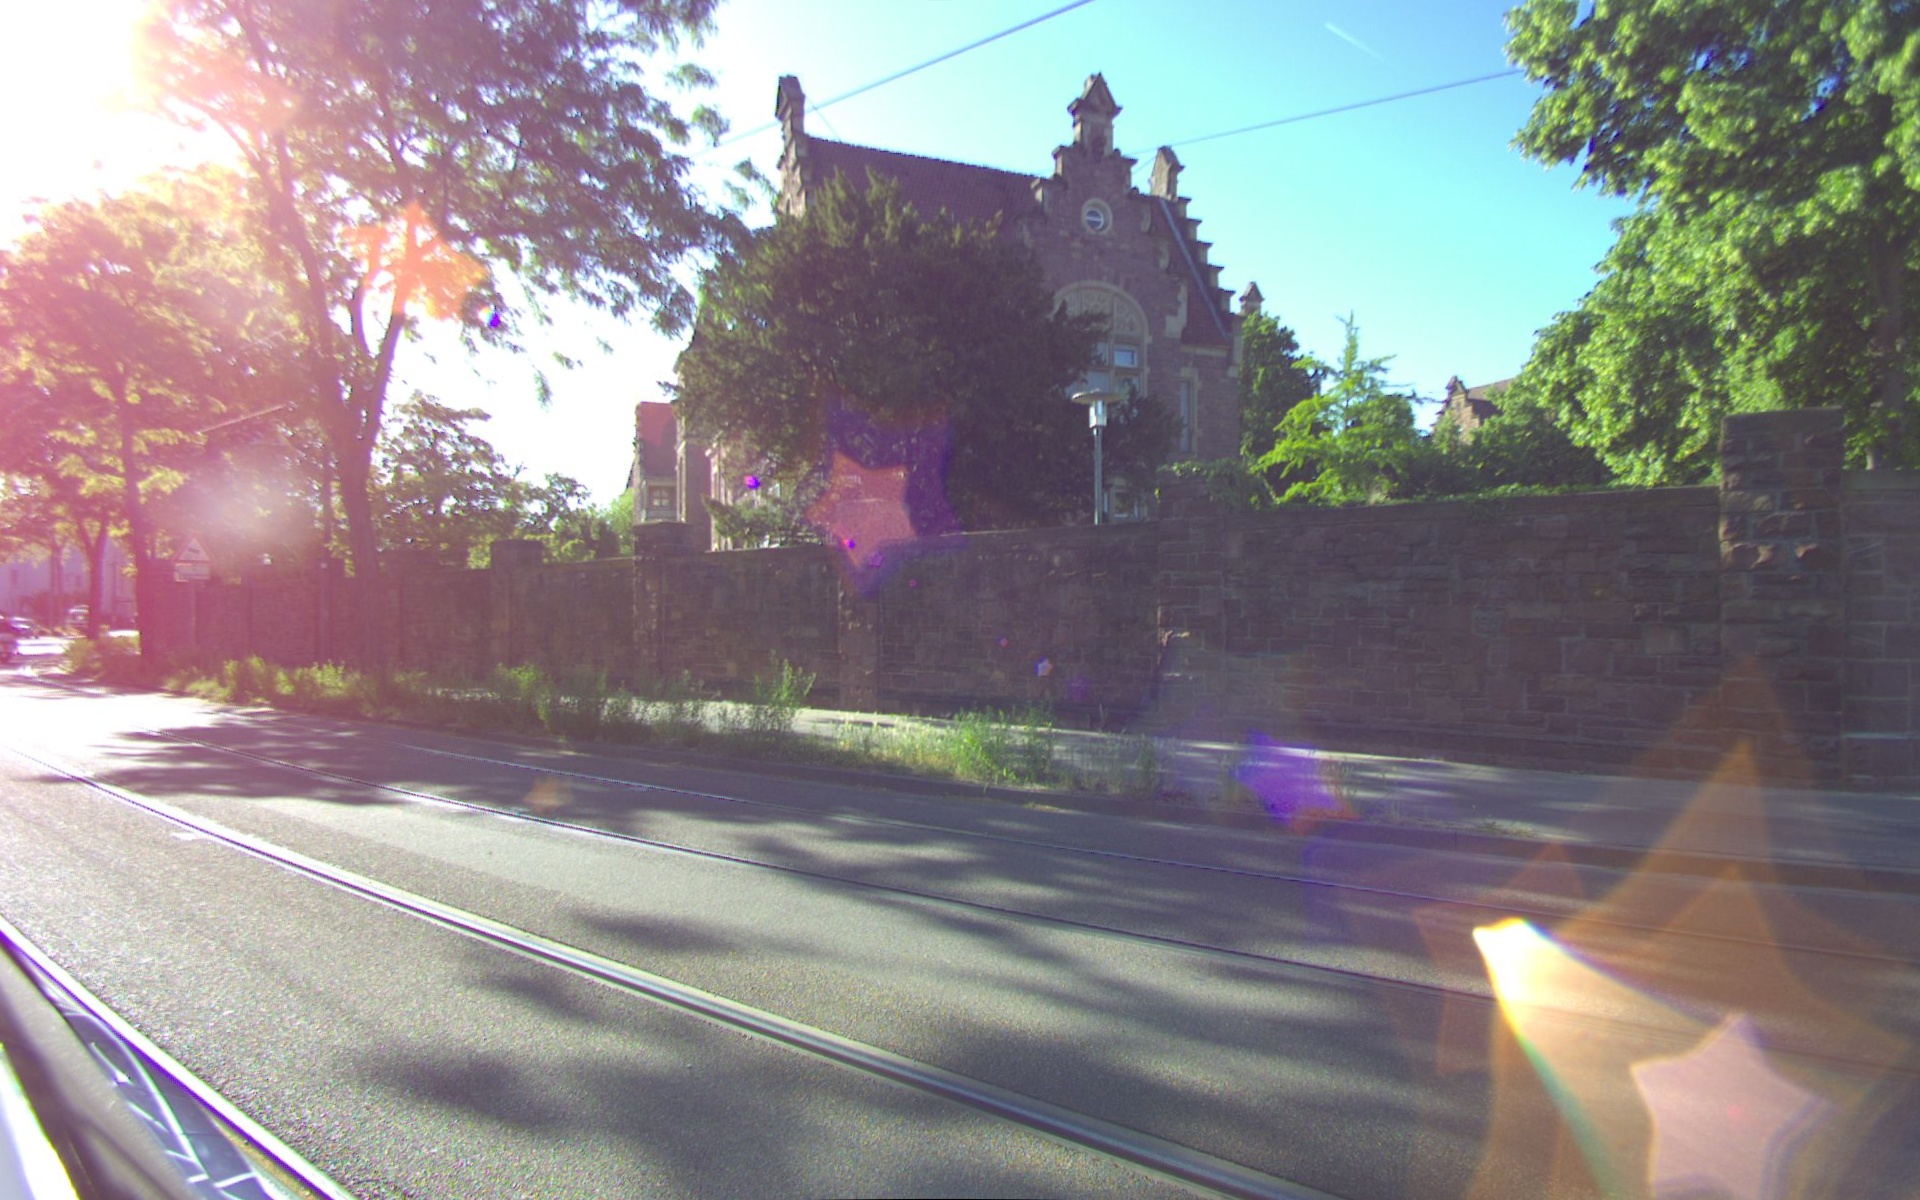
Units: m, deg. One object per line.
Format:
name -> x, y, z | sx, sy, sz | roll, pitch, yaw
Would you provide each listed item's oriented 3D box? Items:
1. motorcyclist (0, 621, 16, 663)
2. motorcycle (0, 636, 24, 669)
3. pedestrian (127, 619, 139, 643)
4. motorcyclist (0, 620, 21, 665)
motorcyclist -> -33.038, 1.443, 34.868 | 0.445, 1.451, 0.678 | -1, -1, 34
motorcycle -> -32.900, 1.786, 34.811 | 1.851, 1.101, 0.604 | -1, -1, 33
pedestrian -> -83.434, 3.082, 102.094 | 0.756, 2.385, 0.929 | -1, 0, -33
motorcyclist -> -32.593, 1.447, 34.615 | 0.464, 1.527, 0.602 | -1, -1, 33
